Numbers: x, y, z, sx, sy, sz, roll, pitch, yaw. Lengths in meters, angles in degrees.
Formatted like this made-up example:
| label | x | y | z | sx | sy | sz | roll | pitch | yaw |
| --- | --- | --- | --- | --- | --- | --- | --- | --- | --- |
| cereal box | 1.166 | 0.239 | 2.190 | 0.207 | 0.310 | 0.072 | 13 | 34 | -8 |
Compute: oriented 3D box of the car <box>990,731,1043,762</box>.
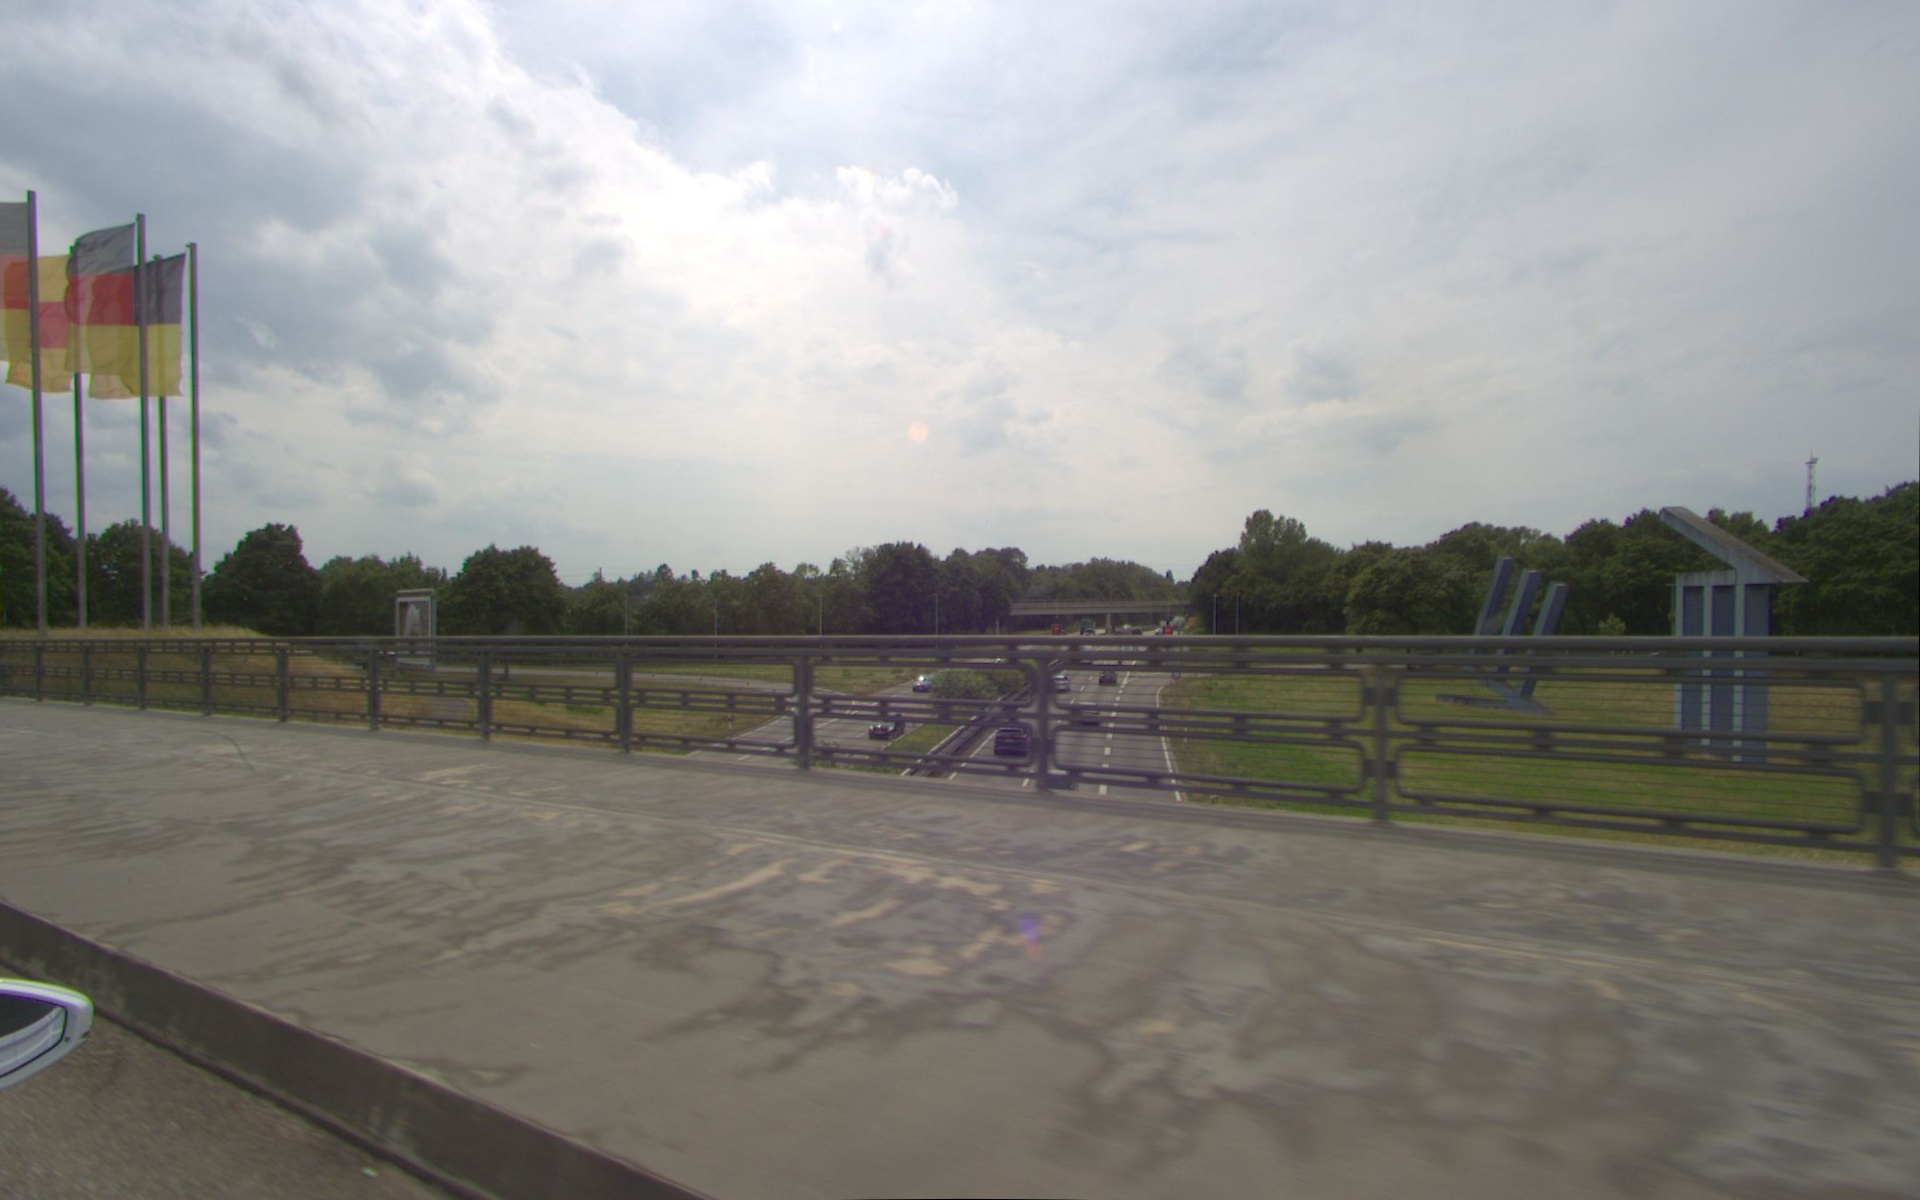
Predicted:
| label | x | y | z | sx | sy | sz | roll | pitch | yaw |
| --- | --- | --- | --- | --- | --- | --- | --- | --- | --- |
| car | 3.123 | 7.943 | 54.487 | 1.964 | 1.253 | 3.997 | 0 | -3 | 18 |

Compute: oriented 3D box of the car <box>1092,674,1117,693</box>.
| label | x | y | z | sx | sy | sz | roll | pitch | yaw |
| --- | --- | --- | --- | --- | --- | --- | --- | --- | --- |
| car | 14.388 | 8.294 | 99.697 | 1.963 | 1.606 | 3.995 | -1 | 0 | 15 |

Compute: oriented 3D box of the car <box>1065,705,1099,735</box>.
| label | x | y | z | sx | sy | sz | roll | pitch | yaw |
| --- | --- | --- | --- | --- | --- | --- | --- | --- | --- |
| car | 8.414 | 8.187 | 68.723 | 1.962 | 1.606 | 3.997 | -1 | 0 | 12 |

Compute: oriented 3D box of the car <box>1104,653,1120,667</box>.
| label | x | y | z | sx | sy | sz | roll | pitch | yaw |
| --- | --- | --- | --- | --- | --- | --- | --- | --- | --- |
| car | 19.389 | 7.615 | 127.968 | 1.962 | 1.606 | 3.999 | -1 | 0 | 8 |

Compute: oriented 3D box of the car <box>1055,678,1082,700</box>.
| label | x | y | z | sx | sy | sz | roll | pitch | yaw |
| --- | --- | --- | --- | --- | --- | --- | --- | --- | --- |
| car | 9.837 | 8.058 | 90.714 | 1.963 | 1.606 | 3.996 | -1 | 0 | 14 |

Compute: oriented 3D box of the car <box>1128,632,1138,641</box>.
| label | x | y | z | sx | sy | sz | roll | pitch | yaw |
| --- | --- | --- | --- | --- | --- | --- | --- | --- | --- |
| car | 37.363 | 7.802 | 215.973 | 2.042 | 1.907 | 4.360 | 0 | -1 | 10 |

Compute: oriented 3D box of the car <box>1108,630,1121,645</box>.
| label | x | y | z | sx | sy | sz | roll | pitch | yaw |
| --- | --- | --- | --- | --- | --- | --- | --- | --- | --- |
| car | 26.973 | 6.489 | 174.992 | 2.042 | 2.523 | 4.360 | 0 | -1 | 10 |

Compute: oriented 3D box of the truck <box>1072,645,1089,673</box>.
| label | x | y | z | sx | sy | sz | roll | pitch | yaw |
| --- | --- | --- | --- | --- | --- | --- | --- | --- | --- |
| truck | 14.661 | 7.184 | 121.806 | 1.961 | 3.191 | 4.379 | -1 | 0 | 7 |

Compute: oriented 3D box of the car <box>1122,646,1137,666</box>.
| label | x | y | z | sx | sy | sz | roll | pitch | yaw |
| --- | --- | --- | --- | --- | --- | --- | --- | --- | --- |
| car | 23.048 | 7.595 | 136.369 | 1.962 | 2.566 | 3.999 | -1 | 0 | 8 |

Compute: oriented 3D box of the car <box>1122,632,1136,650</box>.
| label | x | y | z | sx | sy | sz | roll | pitch | yaw |
| --- | --- | --- | --- | --- | --- | --- | --- | --- | --- |
| car | 25.157 | 6.108 | 148.894 | 2.042 | 2.523 | 4.360 | 0 | -1 | 10 |
